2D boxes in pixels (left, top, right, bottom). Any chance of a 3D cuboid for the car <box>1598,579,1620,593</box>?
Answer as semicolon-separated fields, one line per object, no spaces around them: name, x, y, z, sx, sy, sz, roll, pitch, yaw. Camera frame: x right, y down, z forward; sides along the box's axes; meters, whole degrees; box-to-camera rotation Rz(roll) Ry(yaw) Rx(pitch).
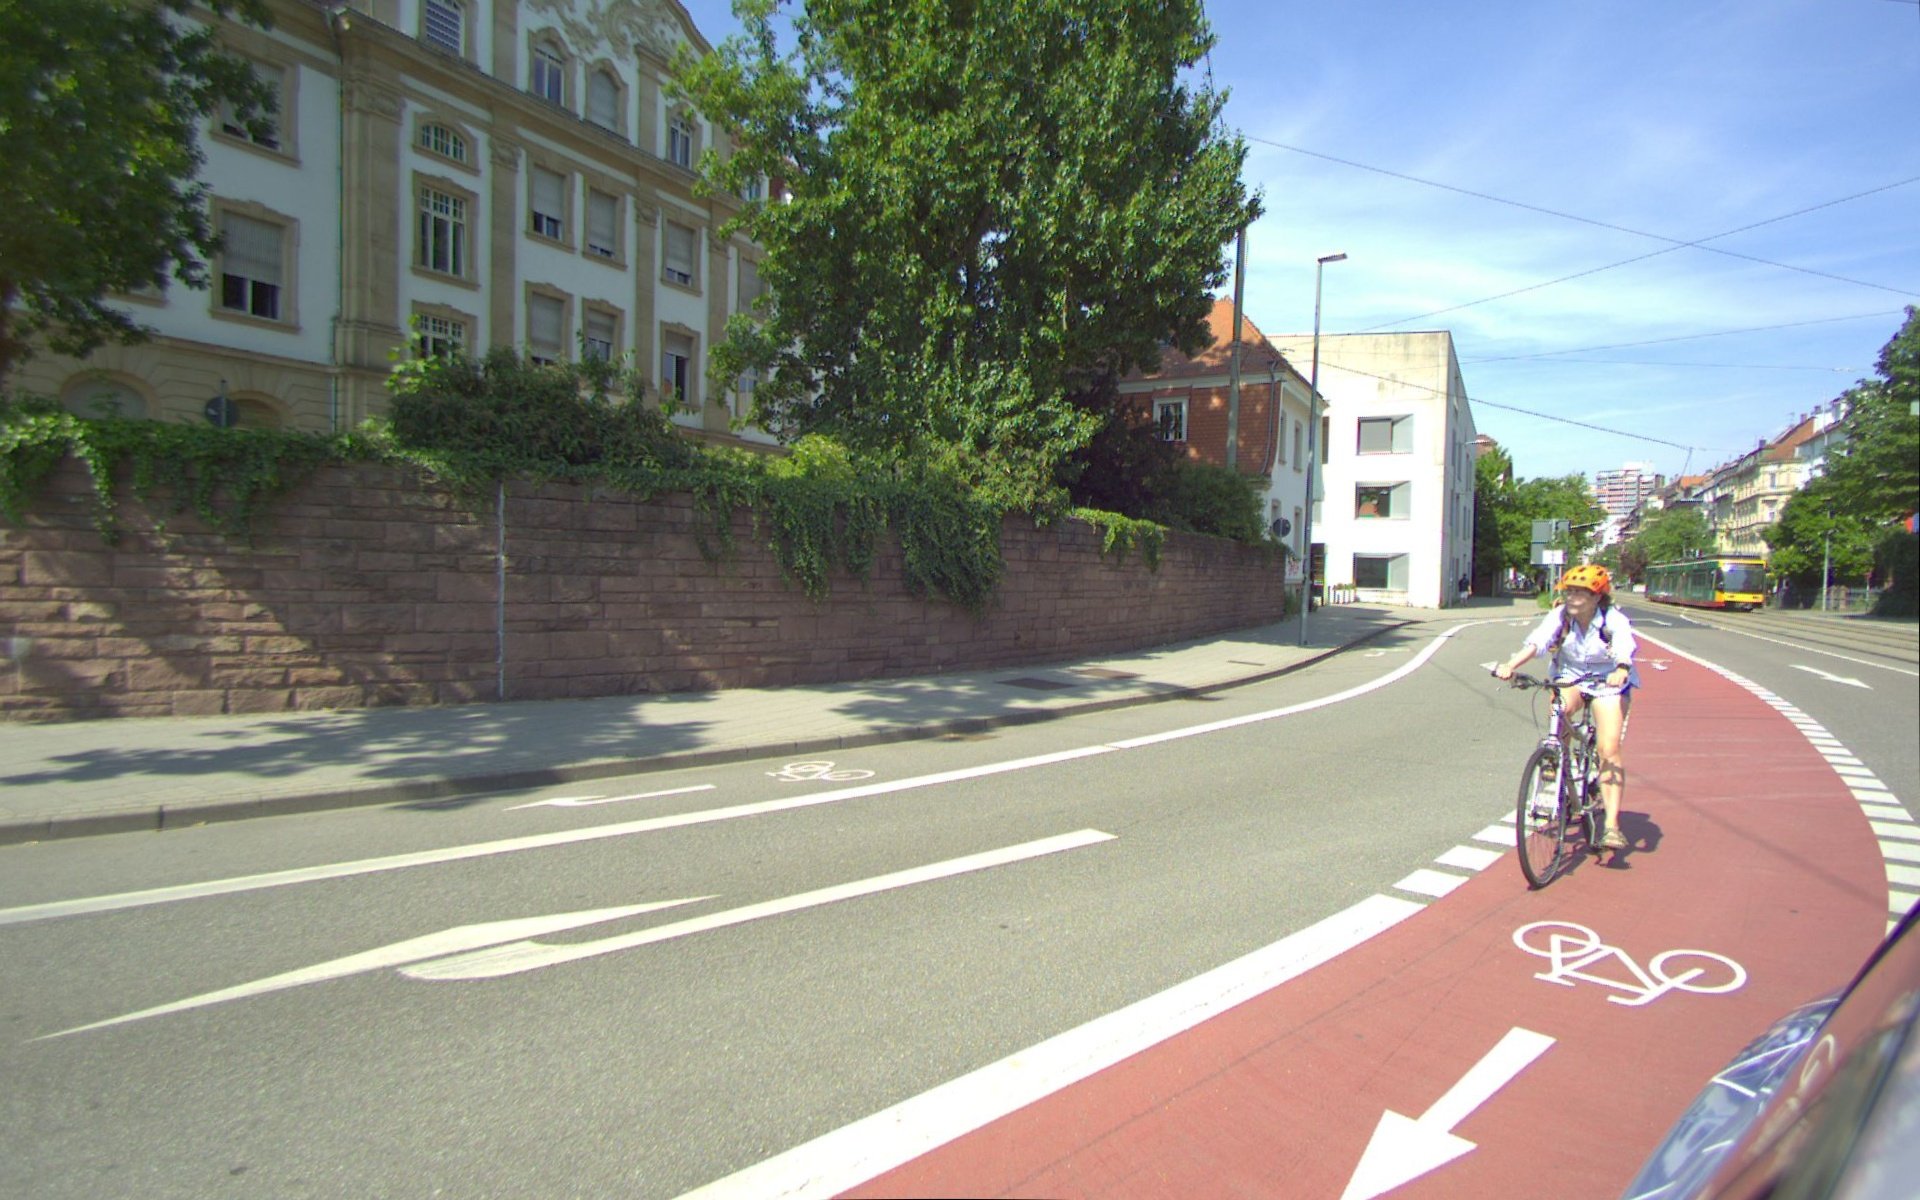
car;67.387;-1.501;105.085;1.791;1.393;4.225;3;3;34

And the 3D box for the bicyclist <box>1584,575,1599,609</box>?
bicyclist;29.184;-0.355;46.771;0.584;1.567;0.921;0;0;33

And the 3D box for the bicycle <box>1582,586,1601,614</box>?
bicycle;29.202;-0.033;46.810;0.681;1.237;2.162;2;2;32

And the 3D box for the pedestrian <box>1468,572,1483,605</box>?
pedestrian;27.172;-0.617;53.376;0.645;1.728;0.704;2;2;29

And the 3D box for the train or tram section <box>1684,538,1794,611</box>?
train or tram section;47.648;-1.559;62.415;3.189;3.908;14.436;2;2;29

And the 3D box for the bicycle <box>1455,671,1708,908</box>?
bicycle;3.441;0.929;5.518;1.993;0.943;0.597;0;1;-41

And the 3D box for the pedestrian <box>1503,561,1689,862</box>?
pedestrian;3.483;0.541;5.530;0.996;1.484;0.584;0;1;-41

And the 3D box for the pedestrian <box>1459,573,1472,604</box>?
pedestrian;26.653;-0.613;53.369;0.545;1.587;0.922;2;2;29
